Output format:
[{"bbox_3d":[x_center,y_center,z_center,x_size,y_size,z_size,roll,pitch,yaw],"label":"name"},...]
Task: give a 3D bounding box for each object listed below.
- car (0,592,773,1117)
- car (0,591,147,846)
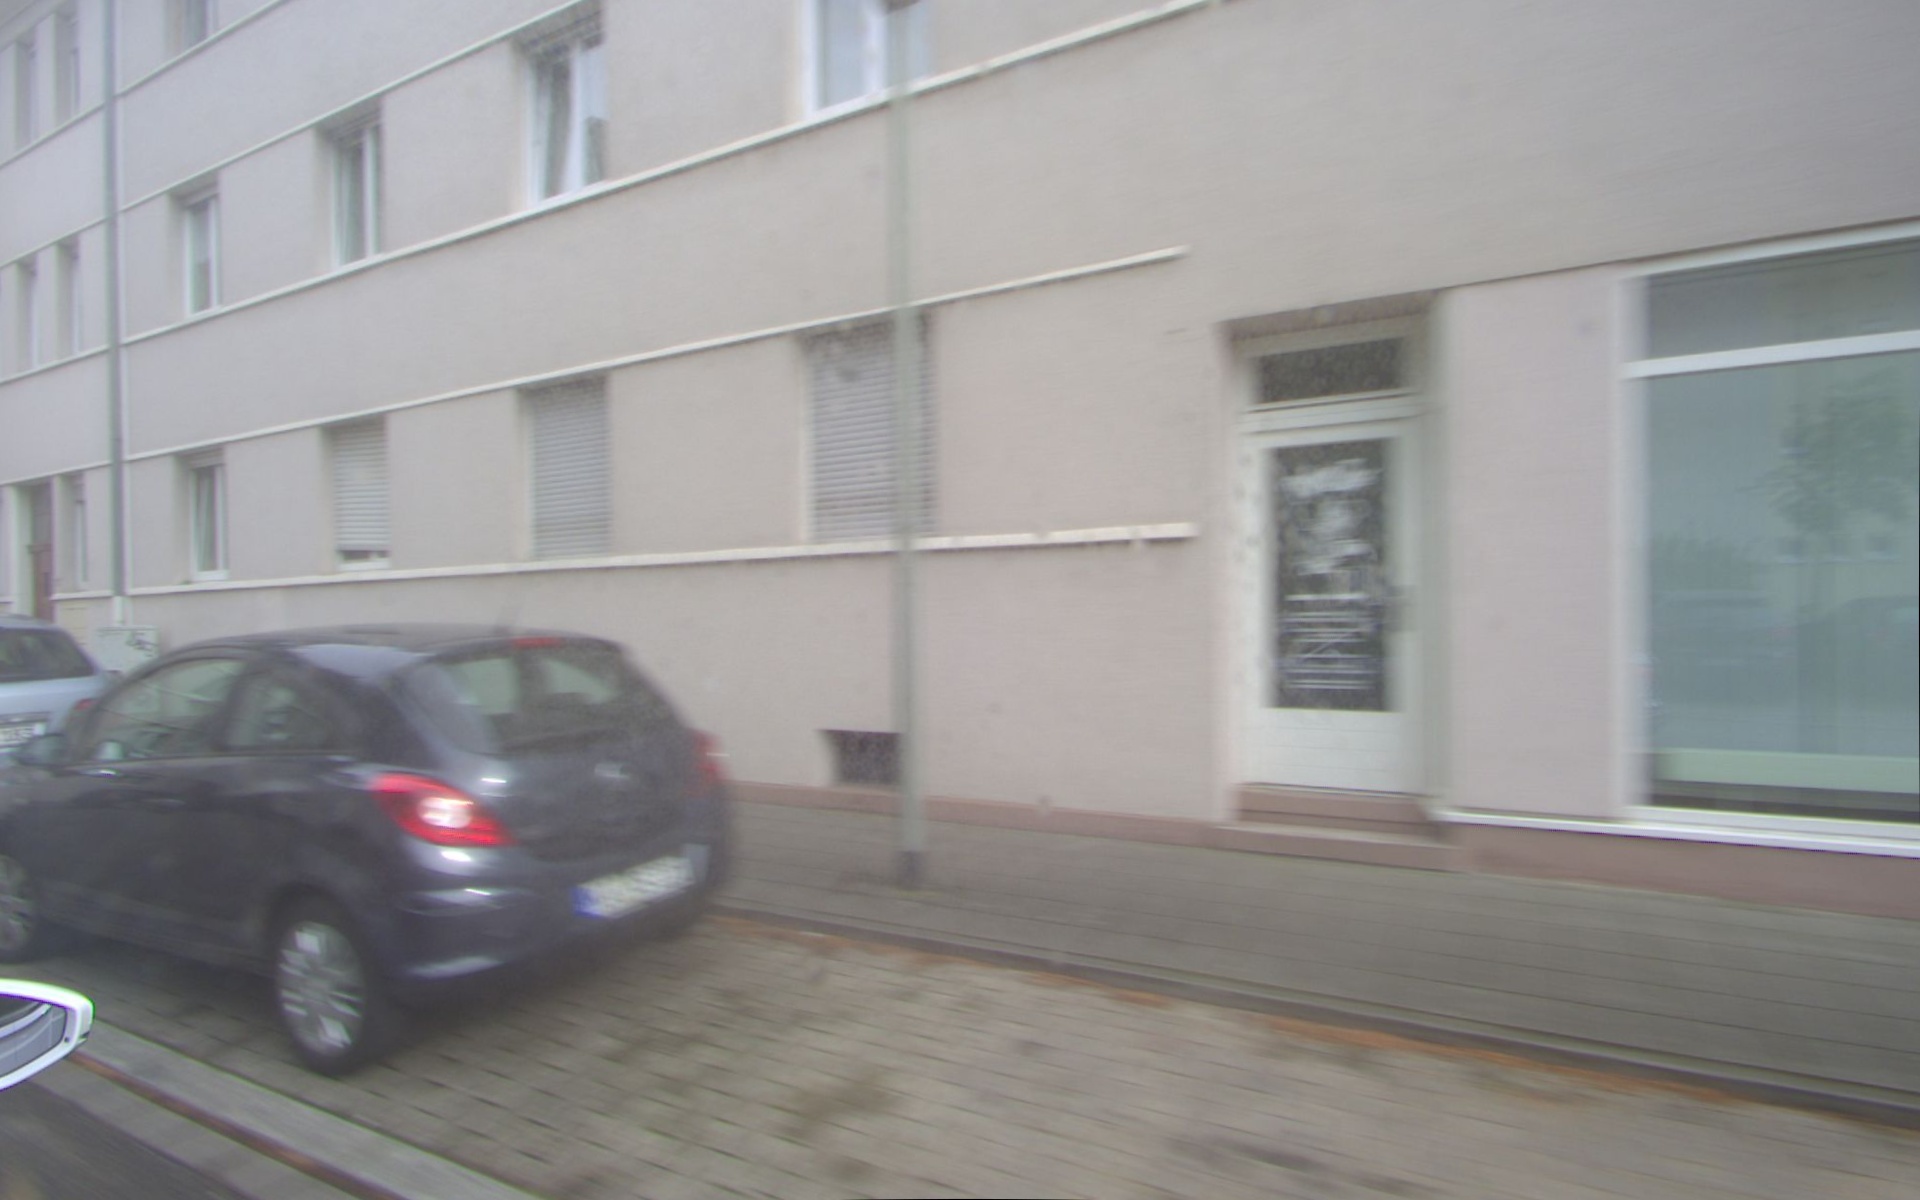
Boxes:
[{"bbox_3d":[-2.938,0.805,4.631,3.878,1.508,1.755,-2,-2,30],"label":"car"},{"bbox_3d":[-8.004,0.823,7.511,4.141,1.648,1.753,-2,-2,32],"label":"car"}]
